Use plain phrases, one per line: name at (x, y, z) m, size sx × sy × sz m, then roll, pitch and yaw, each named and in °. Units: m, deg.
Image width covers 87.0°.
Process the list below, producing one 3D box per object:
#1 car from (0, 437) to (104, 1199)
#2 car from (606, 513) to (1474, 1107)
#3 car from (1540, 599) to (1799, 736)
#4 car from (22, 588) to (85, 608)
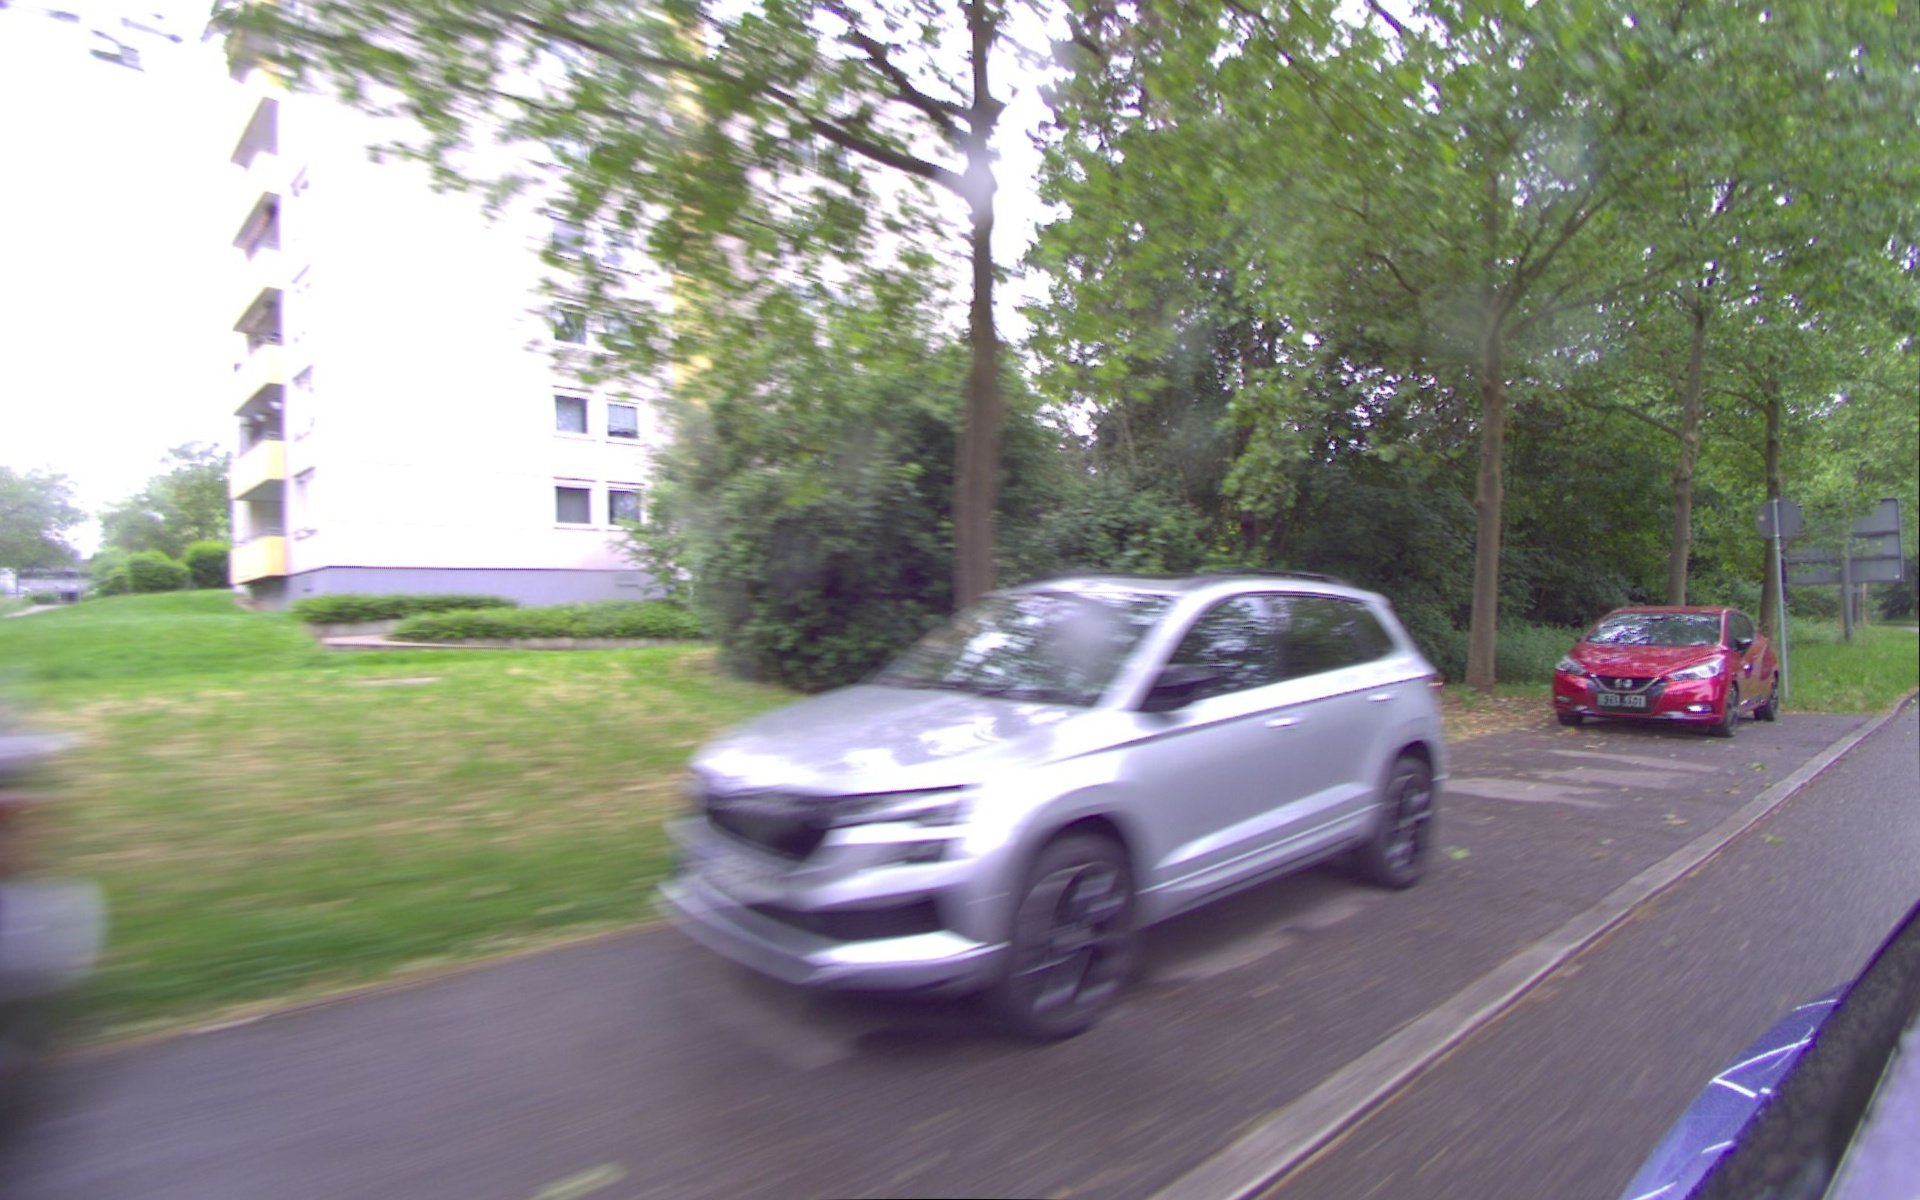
car at (-3.562, 0.584, 0.885) m, size 4.295 × 1.622 × 1.804 m, roll -1°, pitch 0°, yaw -41°
car at (0.702, 0.543, 4.799) m, size 4.180 × 1.611 × 1.730 m, roll -1°, pitch 1°, yaw -42°
car at (8.713, 0.694, 12.326) m, size 3.680 × 1.389 × 1.799 m, roll -1°, pitch 0°, yaw -42°
car at (-93.970, -0.205, 104.934) m, size 4.755 × 1.942 × 1.997 m, roll -1°, pitch -1°, yaw -39°
